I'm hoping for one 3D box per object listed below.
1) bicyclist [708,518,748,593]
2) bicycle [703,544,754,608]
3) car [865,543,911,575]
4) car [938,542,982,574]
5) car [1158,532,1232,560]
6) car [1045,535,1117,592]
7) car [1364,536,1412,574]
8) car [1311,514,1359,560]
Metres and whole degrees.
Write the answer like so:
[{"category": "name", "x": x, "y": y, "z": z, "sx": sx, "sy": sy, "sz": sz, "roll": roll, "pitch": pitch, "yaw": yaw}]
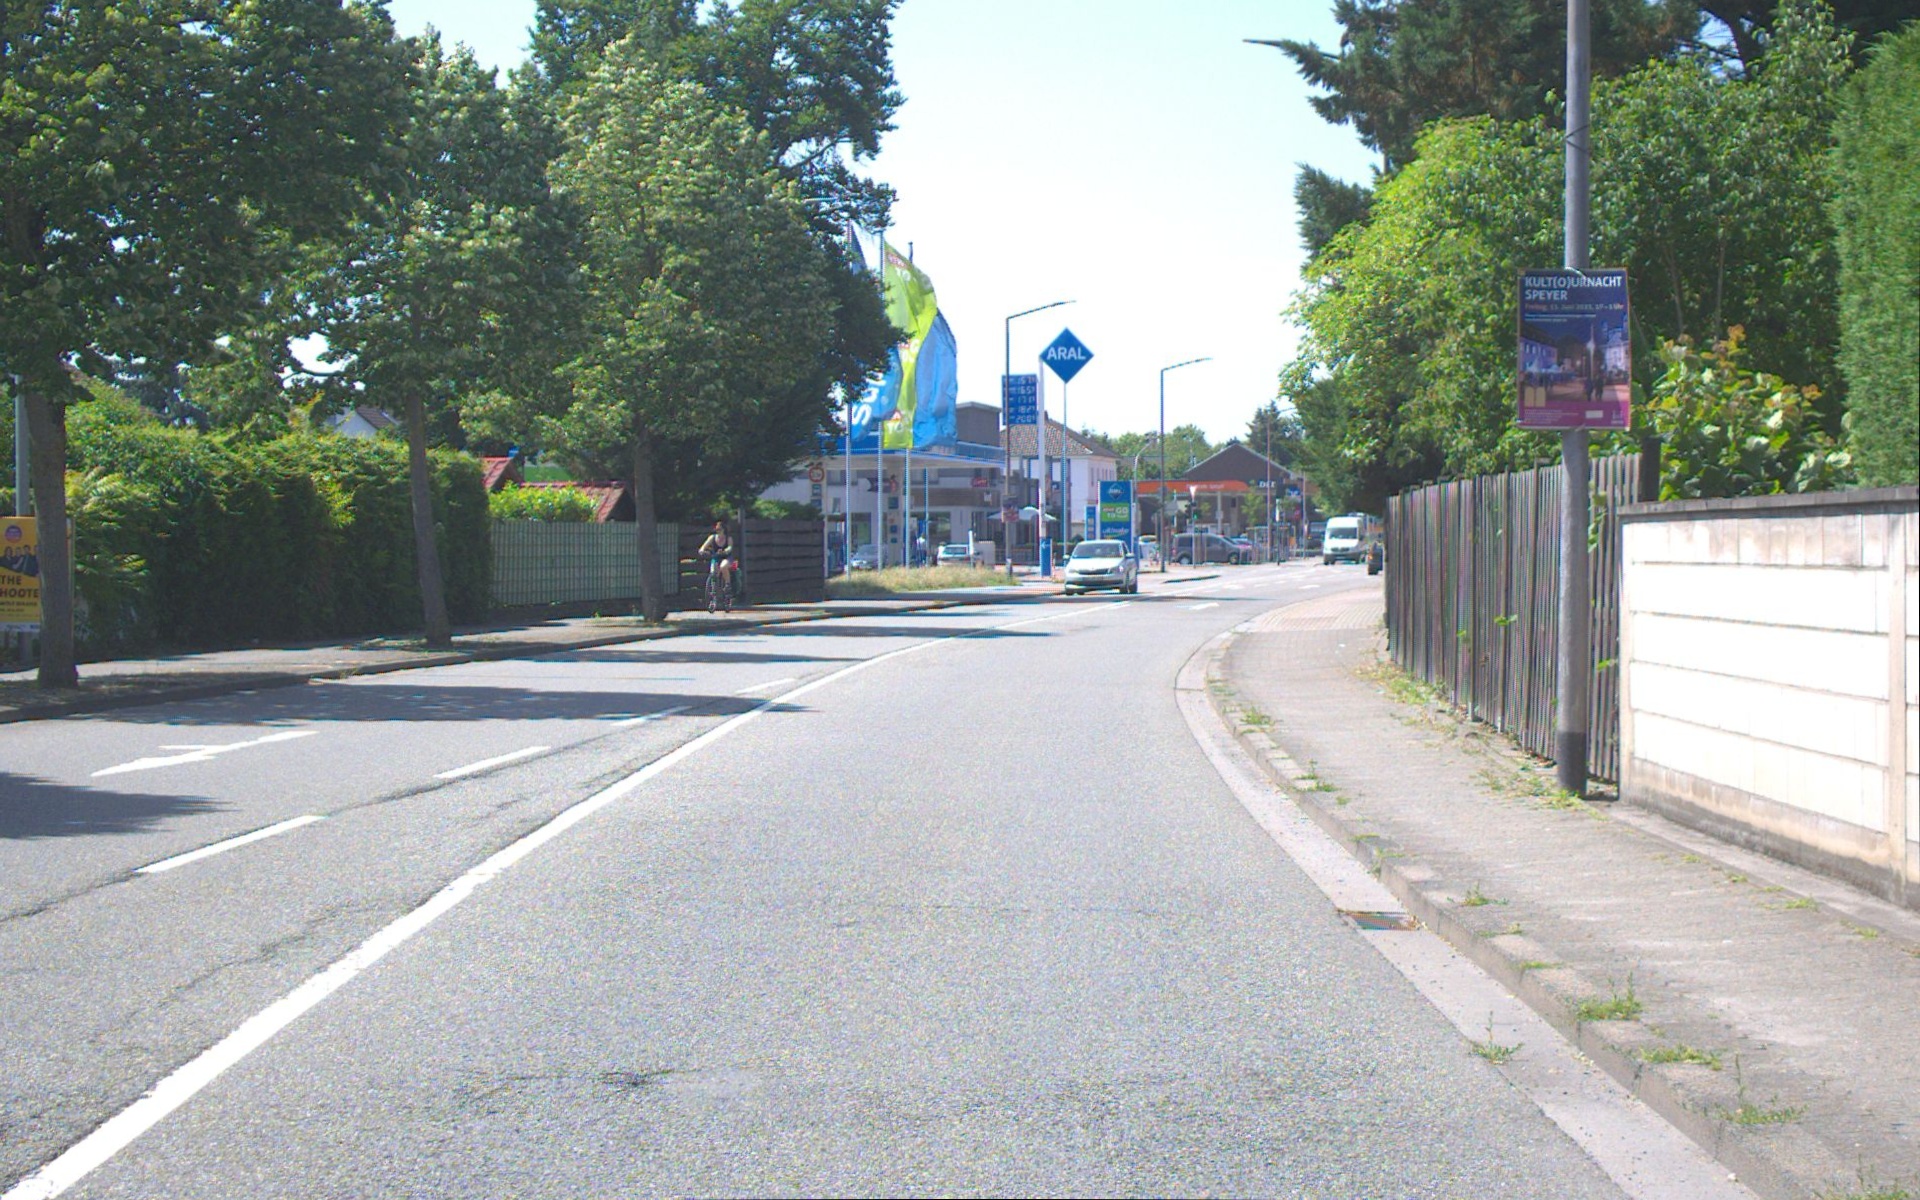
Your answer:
[{"category": "bicyclist", "x": -4.322, "y": -0.832, "z": 64.143, "sx": 0.628, "sy": 1.404, "sz": 0.676, "roll": 0, "pitch": 1, "yaw": 6}, {"category": "bicycle", "x": -4.315, "y": -0.453, "z": 64.184, "sx": 0.632, "sy": 1.176, "sz": 1.815, "roll": 0, "pitch": 1, "yaw": 6}, {"category": "car", "x": -3.351, "y": -1.923, "z": 159.750, "sx": 1.617, "sy": 1.415, "sz": 3.711, "roll": -2, "pitch": 1, "yaw": 6}, {"category": "car", "x": 0.012, "y": -1.977, "z": 159.686, "sx": 1.617, "sy": 1.415, "sz": 3.711, "roll": -2, "pitch": 1, "yaw": 6}, {"category": "car", "x": 12.853, "y": -2.949, "z": 188.048, "sx": 3.988, "sy": 1.503, "sz": 1.554, "roll": 0, "pitch": 1, "yaw": 8}, {"category": "car", "x": 3.273, "y": -0.994, "z": 92.198, "sx": 1.612, "sy": 1.477, "sz": 3.706, "roll": 0, "pitch": 1, "yaw": 7}, {"category": "car", "x": 16.811, "y": -1.784, "z": 134.847, "sx": 1.666, "sy": 1.450, "sz": 3.471, "roll": 0, "pitch": 1, "yaw": 11}, {"category": "car", "x": 20.950, "y": -3.491, "z": 191.887, "sx": 1.995, "sy": 2.414, "sz": 5.944, "roll": 2, "pitch": 0, "yaw": 13}]
